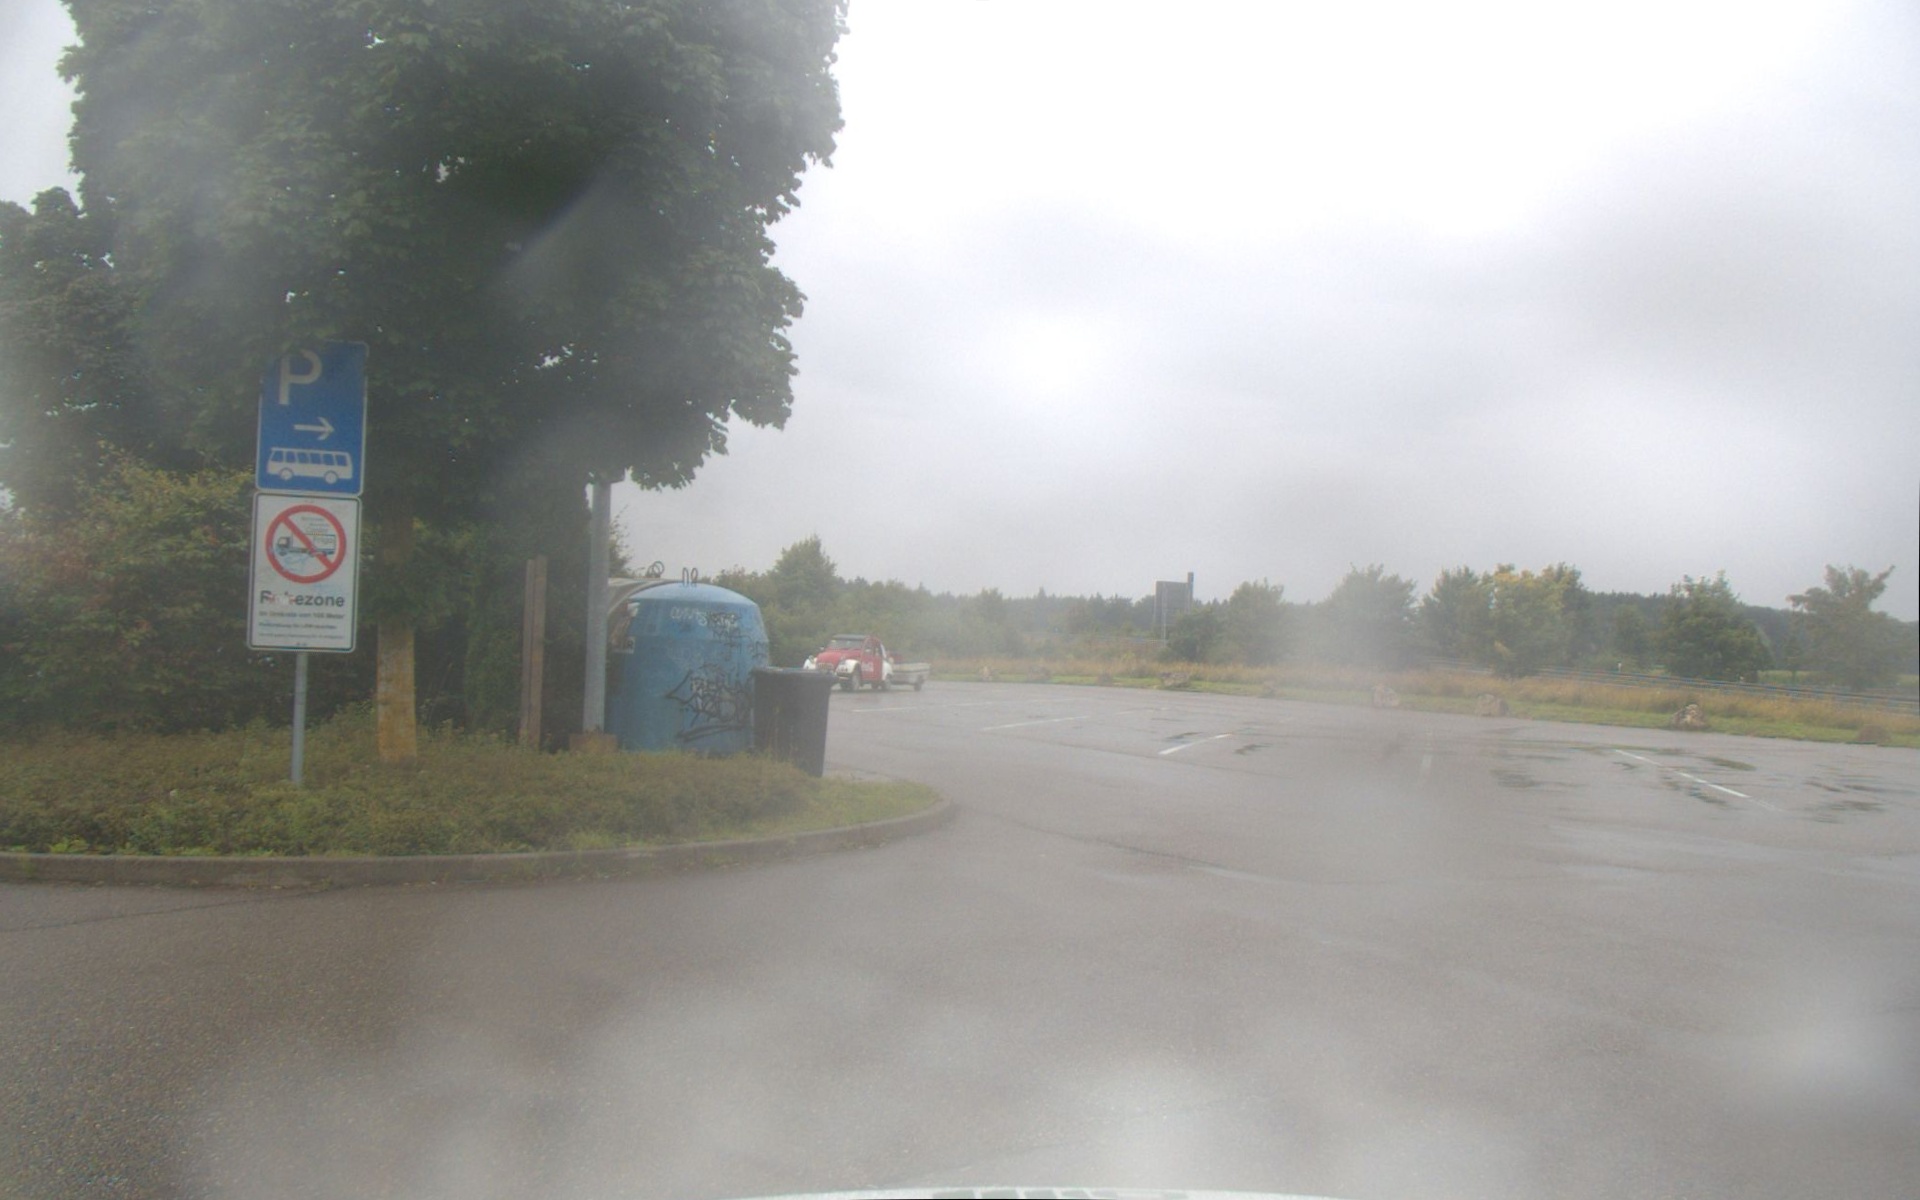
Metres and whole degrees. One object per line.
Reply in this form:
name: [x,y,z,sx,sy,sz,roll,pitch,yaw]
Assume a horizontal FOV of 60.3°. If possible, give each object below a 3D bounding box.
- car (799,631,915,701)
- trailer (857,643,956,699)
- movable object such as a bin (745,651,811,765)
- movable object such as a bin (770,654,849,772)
car: [-2.764,1.813,45.213,1.784,1.808,4.001,0,-2,18]
trailer: [-1.526,2.085,49.055,1.659,1.560,4.001,0,-2,18]
movable object such as a bin: [-1.597,0.939,14.548,0.395,0.965,0.451,2,-1,15]
movable object such as a bin: [-1.283,0.956,14.122,0.427,0.965,0.471,2,-2,39]
